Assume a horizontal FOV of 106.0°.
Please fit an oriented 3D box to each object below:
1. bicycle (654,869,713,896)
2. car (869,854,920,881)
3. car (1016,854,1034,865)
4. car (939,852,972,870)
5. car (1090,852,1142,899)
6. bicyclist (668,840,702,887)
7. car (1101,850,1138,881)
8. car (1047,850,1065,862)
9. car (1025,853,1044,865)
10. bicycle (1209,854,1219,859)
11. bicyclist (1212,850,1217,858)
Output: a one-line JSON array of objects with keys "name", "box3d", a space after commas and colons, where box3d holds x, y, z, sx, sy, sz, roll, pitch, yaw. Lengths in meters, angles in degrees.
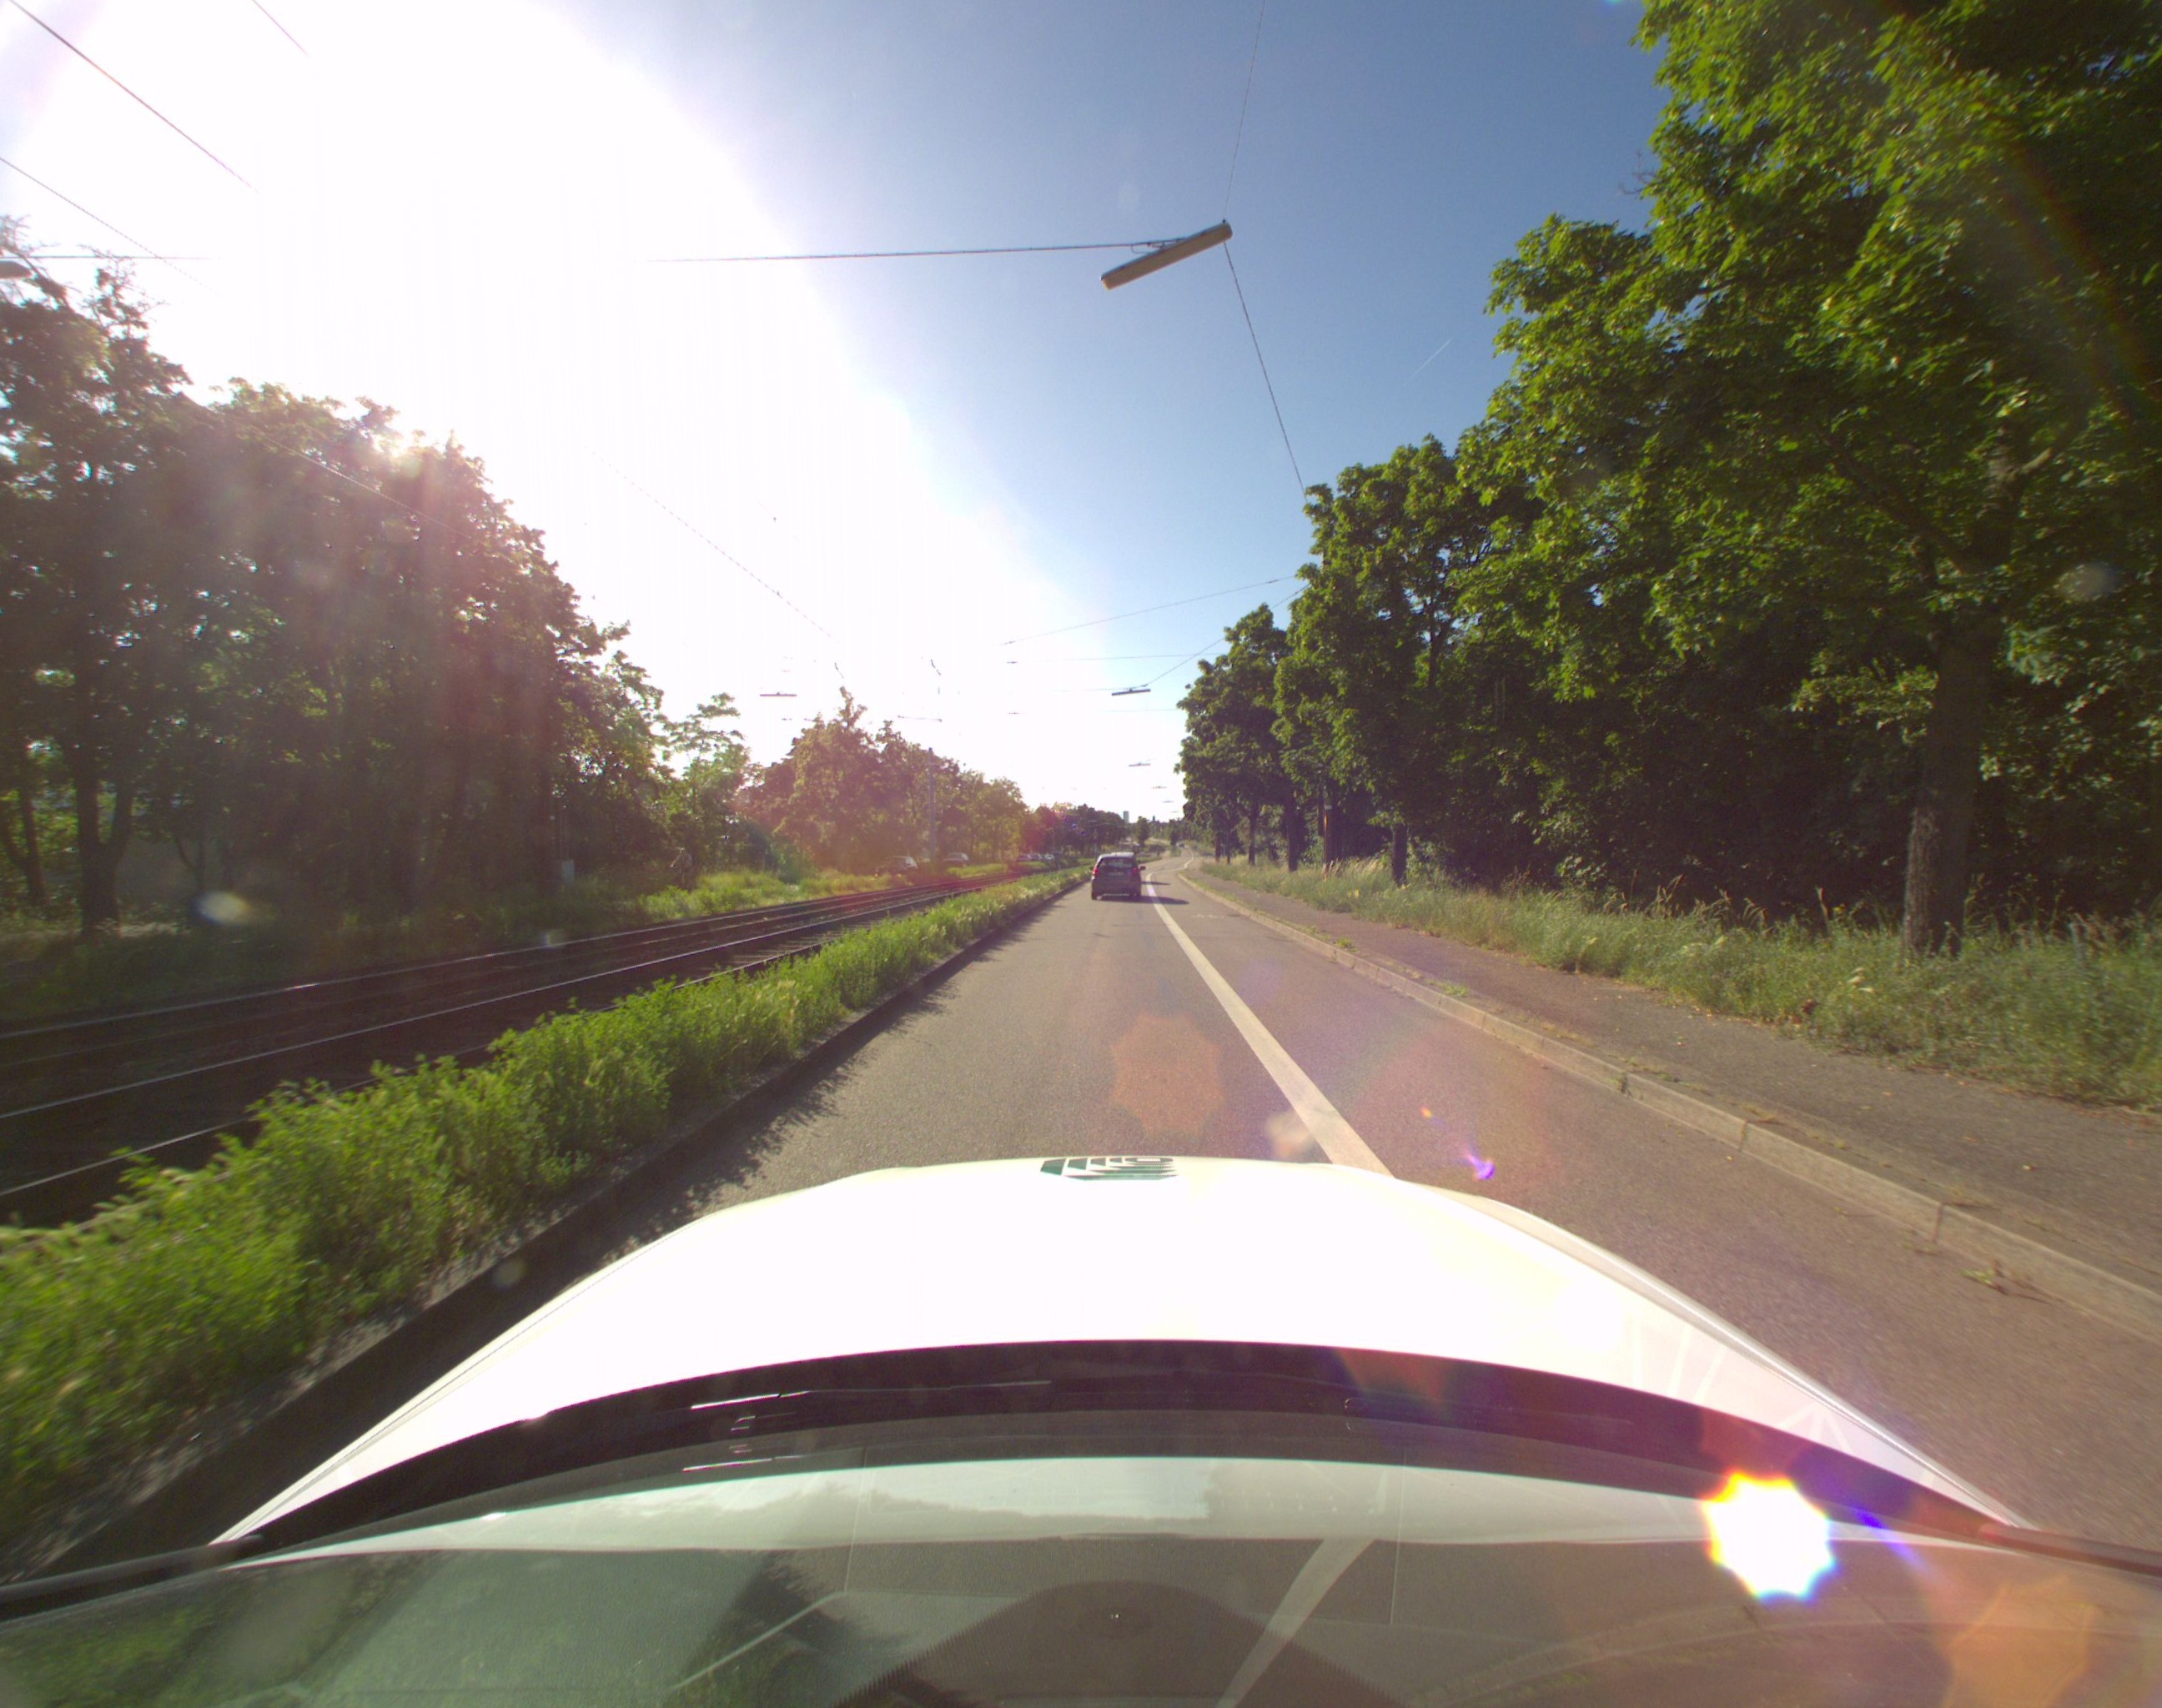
[{"name": "bicycle", "box3d": [-14.821, 1.039, 30.452, 0.815, 0.914, 2.540, 0, 0, 3]}, {"name": "car", "box3d": [-10.723, 0.734, 47.066, 1.702, 1.479, 4.005, 0, 0, 4]}, {"name": "car", "box3d": [-7.845, 0.750, 114.113, 1.726, 1.494, 4.336, 1, 0, 7]}, {"name": "car", "box3d": [-12.323, 0.637, 80.156, 1.993, 1.702, 4.476, 0, 0, 7]}, {"name": "car", "box3d": [1.226, 0.681, 28.383, 1.700, 1.508, 4.003, 0, 0, 3]}, {"name": "bicyclist", "box3d": [-14.817, 0.340, 30.499, 0.815, 1.736, 0.903, 0, 0, 3]}, {"name": "car", "box3d": [2.132, 0.583, 44.224, 1.842, 1.606, 4.259, 0, 0, 4]}, {"name": "car", "box3d": [-4.254, 0.342, 138.894, 2.183, 1.891, 4.805, 0, 0, 11]}, {"name": "car", "box3d": [-6.877, 0.717, 120.717, 1.983, 1.574, 4.444, 0, 0, 7]}, {"name": "bicycle", "box3d": [27.529, 0.595, 169.141, 1.904, 0.998, 0.768, -3, -1, 19]}, {"name": "bicyclist", "box3d": [27.706, -0.007, 169.078, 0.902, 1.745, 0.768, -2, -1, 19]}]
